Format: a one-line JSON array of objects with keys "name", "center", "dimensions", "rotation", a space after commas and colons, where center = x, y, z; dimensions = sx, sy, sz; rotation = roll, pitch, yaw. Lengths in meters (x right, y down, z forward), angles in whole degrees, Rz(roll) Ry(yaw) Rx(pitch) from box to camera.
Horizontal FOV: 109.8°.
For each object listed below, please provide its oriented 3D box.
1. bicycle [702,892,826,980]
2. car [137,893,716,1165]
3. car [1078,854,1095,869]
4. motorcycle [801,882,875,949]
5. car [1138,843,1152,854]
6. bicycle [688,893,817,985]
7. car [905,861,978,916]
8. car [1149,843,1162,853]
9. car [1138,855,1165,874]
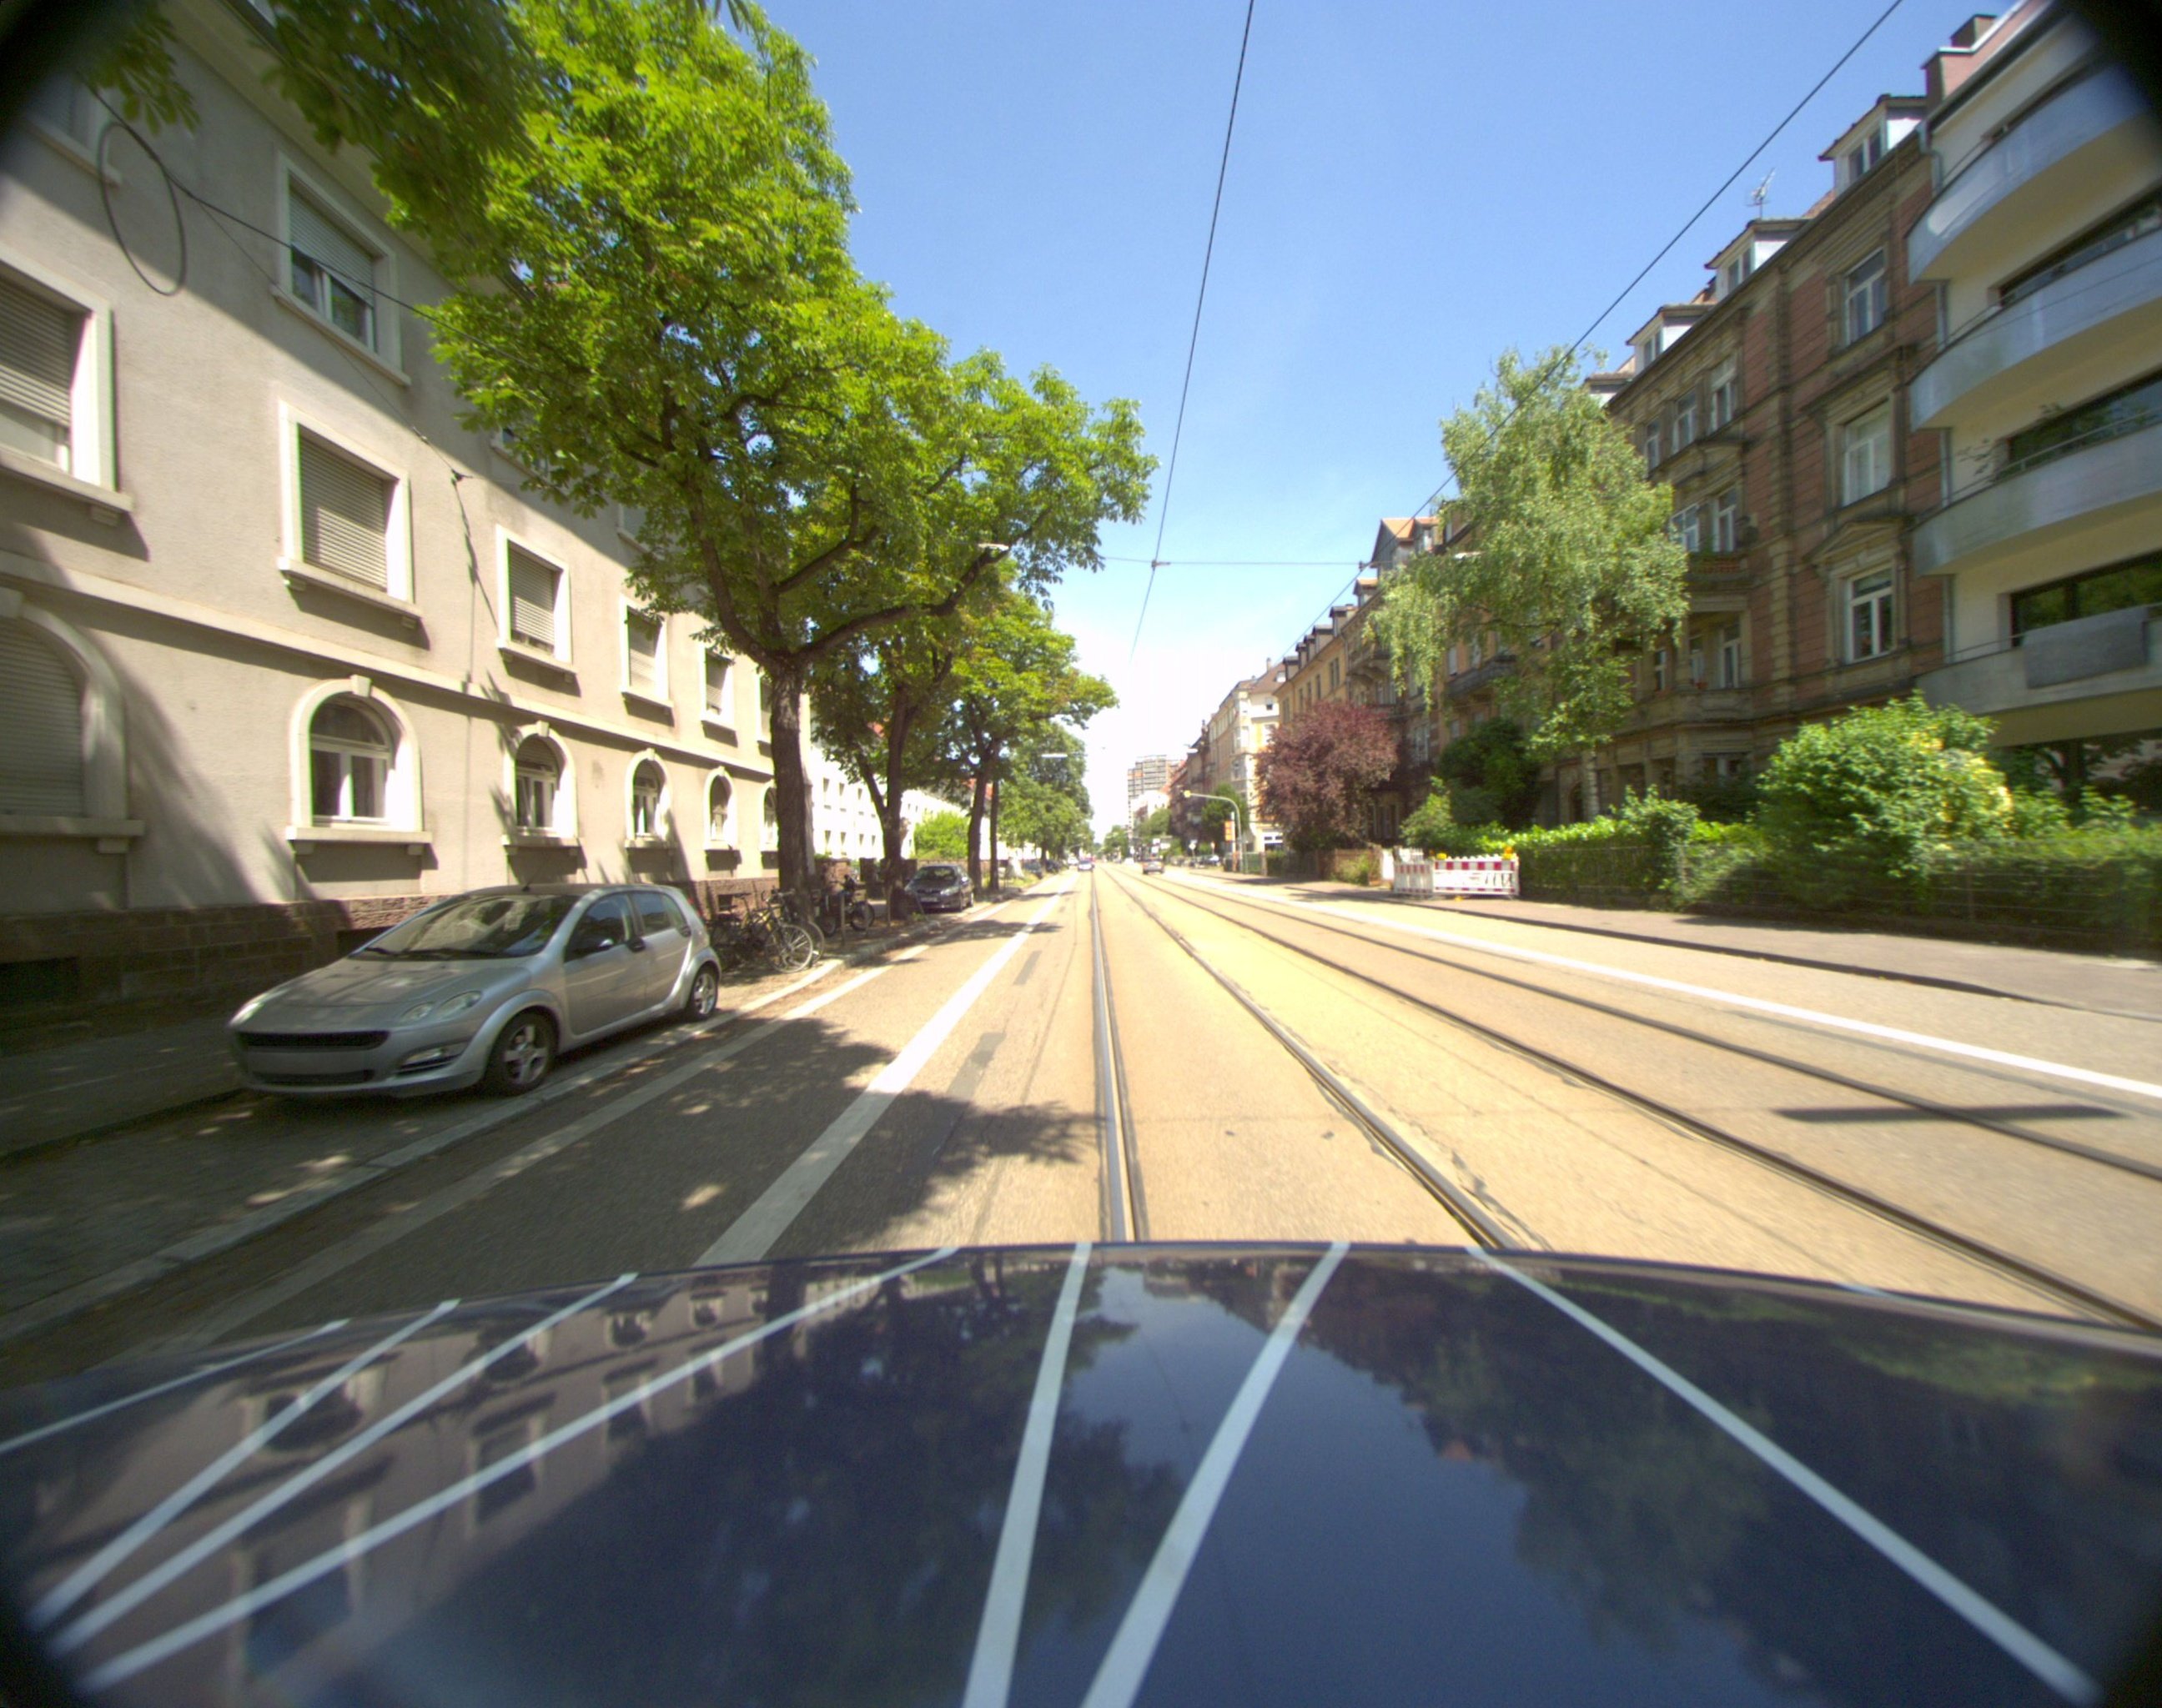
[{"name": "bicycle", "center": [-4.561, 1.178, 10.961], "dimensions": [1.623, 1.193, 0.305], "rotation": [-2, 1, 2]}, {"name": "car", "center": [-4.723, 1.122, 6.284], "dimensions": [1.596, 1.443, 3.632], "rotation": [0, 0, 1]}, {"name": "car", "center": [0.623, 0.857, 88.270], "dimensions": [1.893, 1.561, 4.037], "rotation": [-2, 1, 1]}, {"name": "motorcycle", "center": [-5.096, 1.255, 16.104], "dimensions": [0.623, 1.190, 2.220], "rotation": [-2, 1, 6]}, {"name": "car", "center": [10.466, -0.933, 124.439], "dimensions": [1.998, 1.717, 3.871], "rotation": [-2, 1, 1]}, {"name": "bicycle", "center": [-4.577, 1.179, 10.607], "dimensions": [1.623, 1.193, 0.305], "rotation": [-2, 1, 2]}, {"name": "car", "center": [-4.445, 1.044, 24.738], "dimensions": [1.539, 1.535, 4.000], "rotation": [-2, 0, 1]}, {"name": "car", "center": [10.263, -0.867, 105.251], "dimensions": [1.493, 1.372, 3.630], "rotation": [-2, 1, 1]}, {"name": "car", "center": [6.065, 0.875, 65.975], "dimensions": [1.998, 1.467, 3.999], "rotation": [-2, 1, 1]}]
